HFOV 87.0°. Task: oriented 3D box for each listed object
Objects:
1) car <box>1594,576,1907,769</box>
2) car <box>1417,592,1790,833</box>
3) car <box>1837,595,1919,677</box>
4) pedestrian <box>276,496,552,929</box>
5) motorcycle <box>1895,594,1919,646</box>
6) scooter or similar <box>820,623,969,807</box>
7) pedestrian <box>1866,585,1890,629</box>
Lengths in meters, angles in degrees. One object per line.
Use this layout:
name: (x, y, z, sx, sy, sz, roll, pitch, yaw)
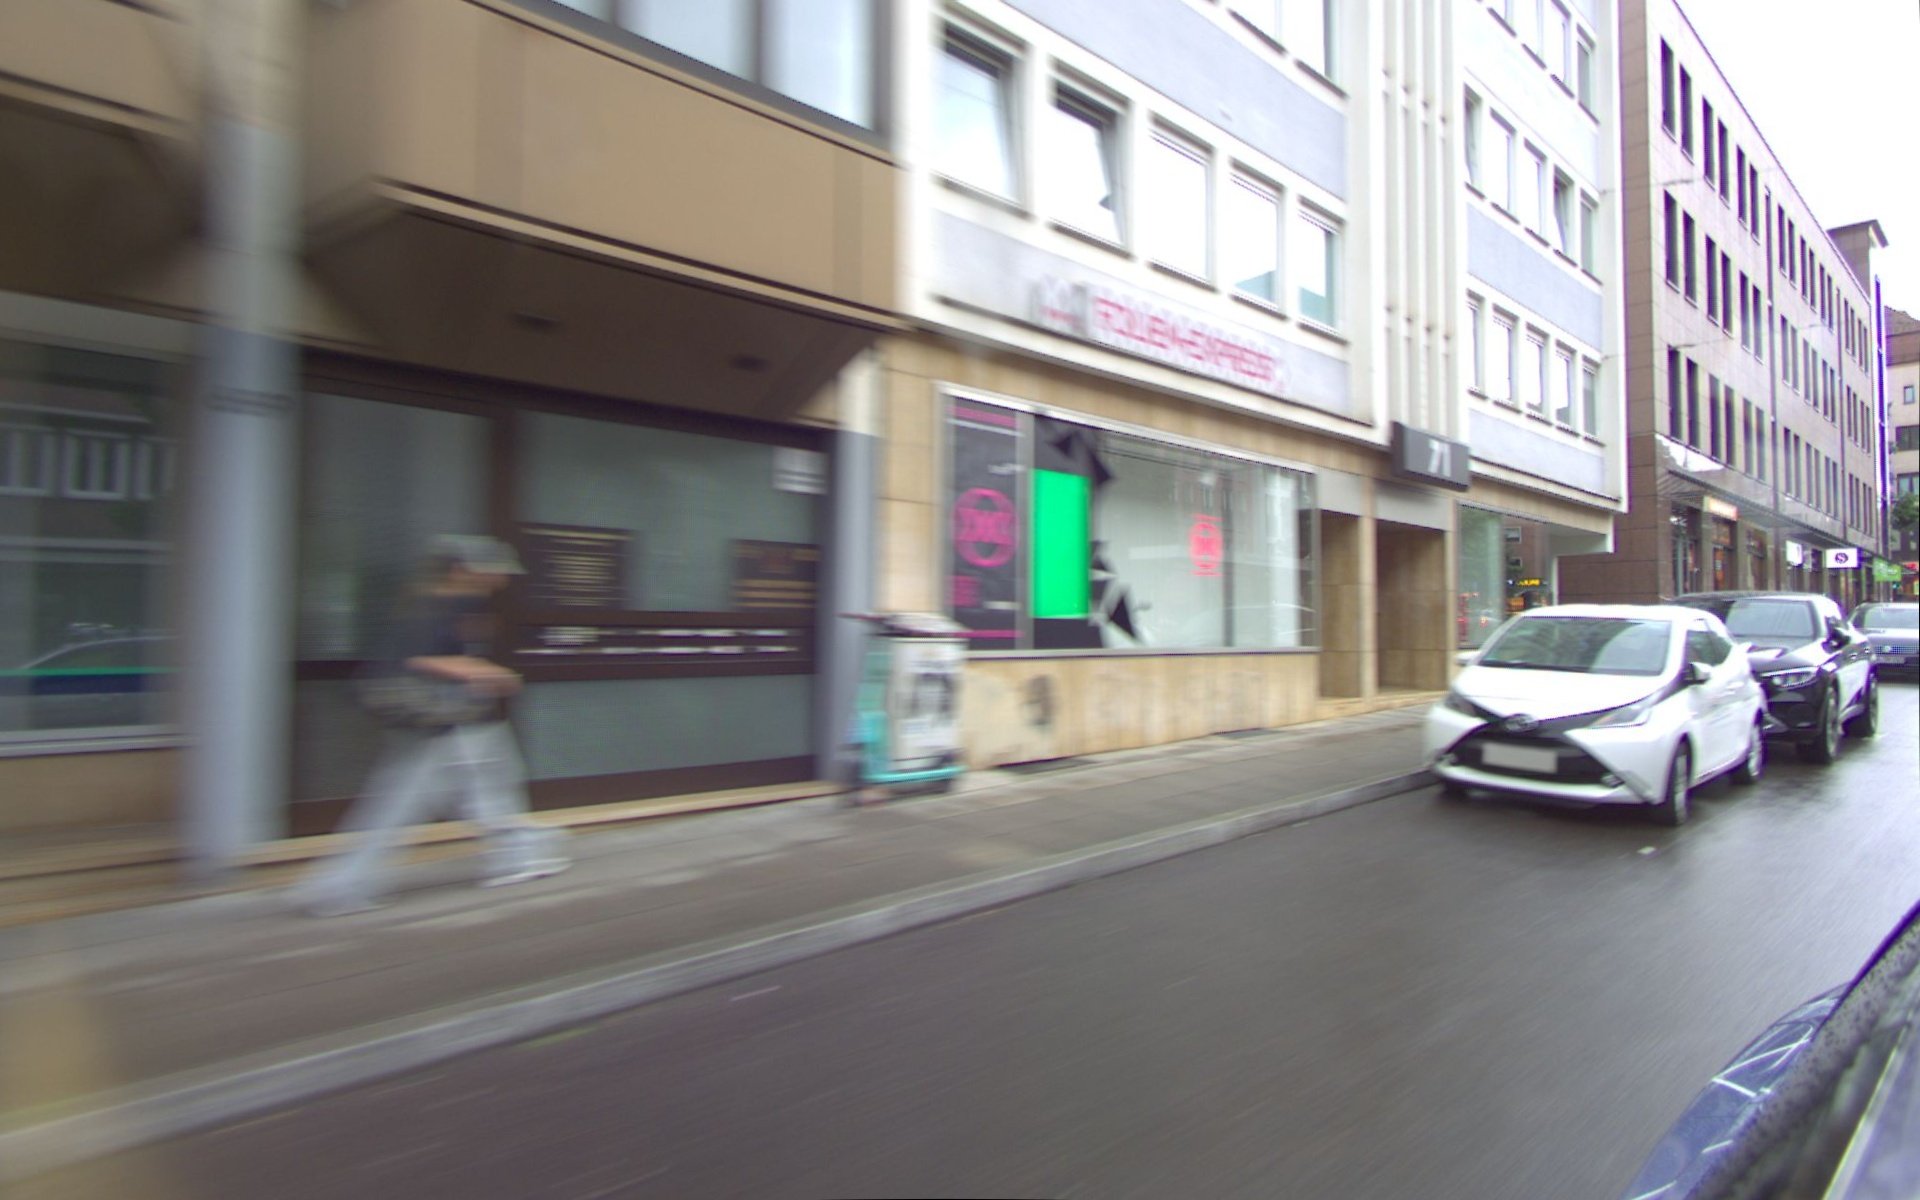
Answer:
car: (8.768, 0.608, 11.026, 5.080, 1.652, 1.810, 0, 0, -42)
car: (5.212, 0.691, 8.037, 3.503, 1.495, 1.560, 0, 0, -41)
car: (19.018, 0.651, 20.273, 4.533, 1.487, 1.775, 0, 0, -44)
pedestrian: (-2.418, 0.432, 4.496, 0.949, 1.673, 0.696, 0, -1, -42)
motorcycle: (26.779, 0.547, 27.334, 0.782, 1.425, 2.094, -1, 0, -23)
scooter or similar: (-0.408, 0.718, 6.742, 0.209, 1.096, 1.216, -1, 0, 40)
pedestrian: (35.129, 0.261, 38.708, 0.614, 1.680, 0.602, -1, 0, -41)
